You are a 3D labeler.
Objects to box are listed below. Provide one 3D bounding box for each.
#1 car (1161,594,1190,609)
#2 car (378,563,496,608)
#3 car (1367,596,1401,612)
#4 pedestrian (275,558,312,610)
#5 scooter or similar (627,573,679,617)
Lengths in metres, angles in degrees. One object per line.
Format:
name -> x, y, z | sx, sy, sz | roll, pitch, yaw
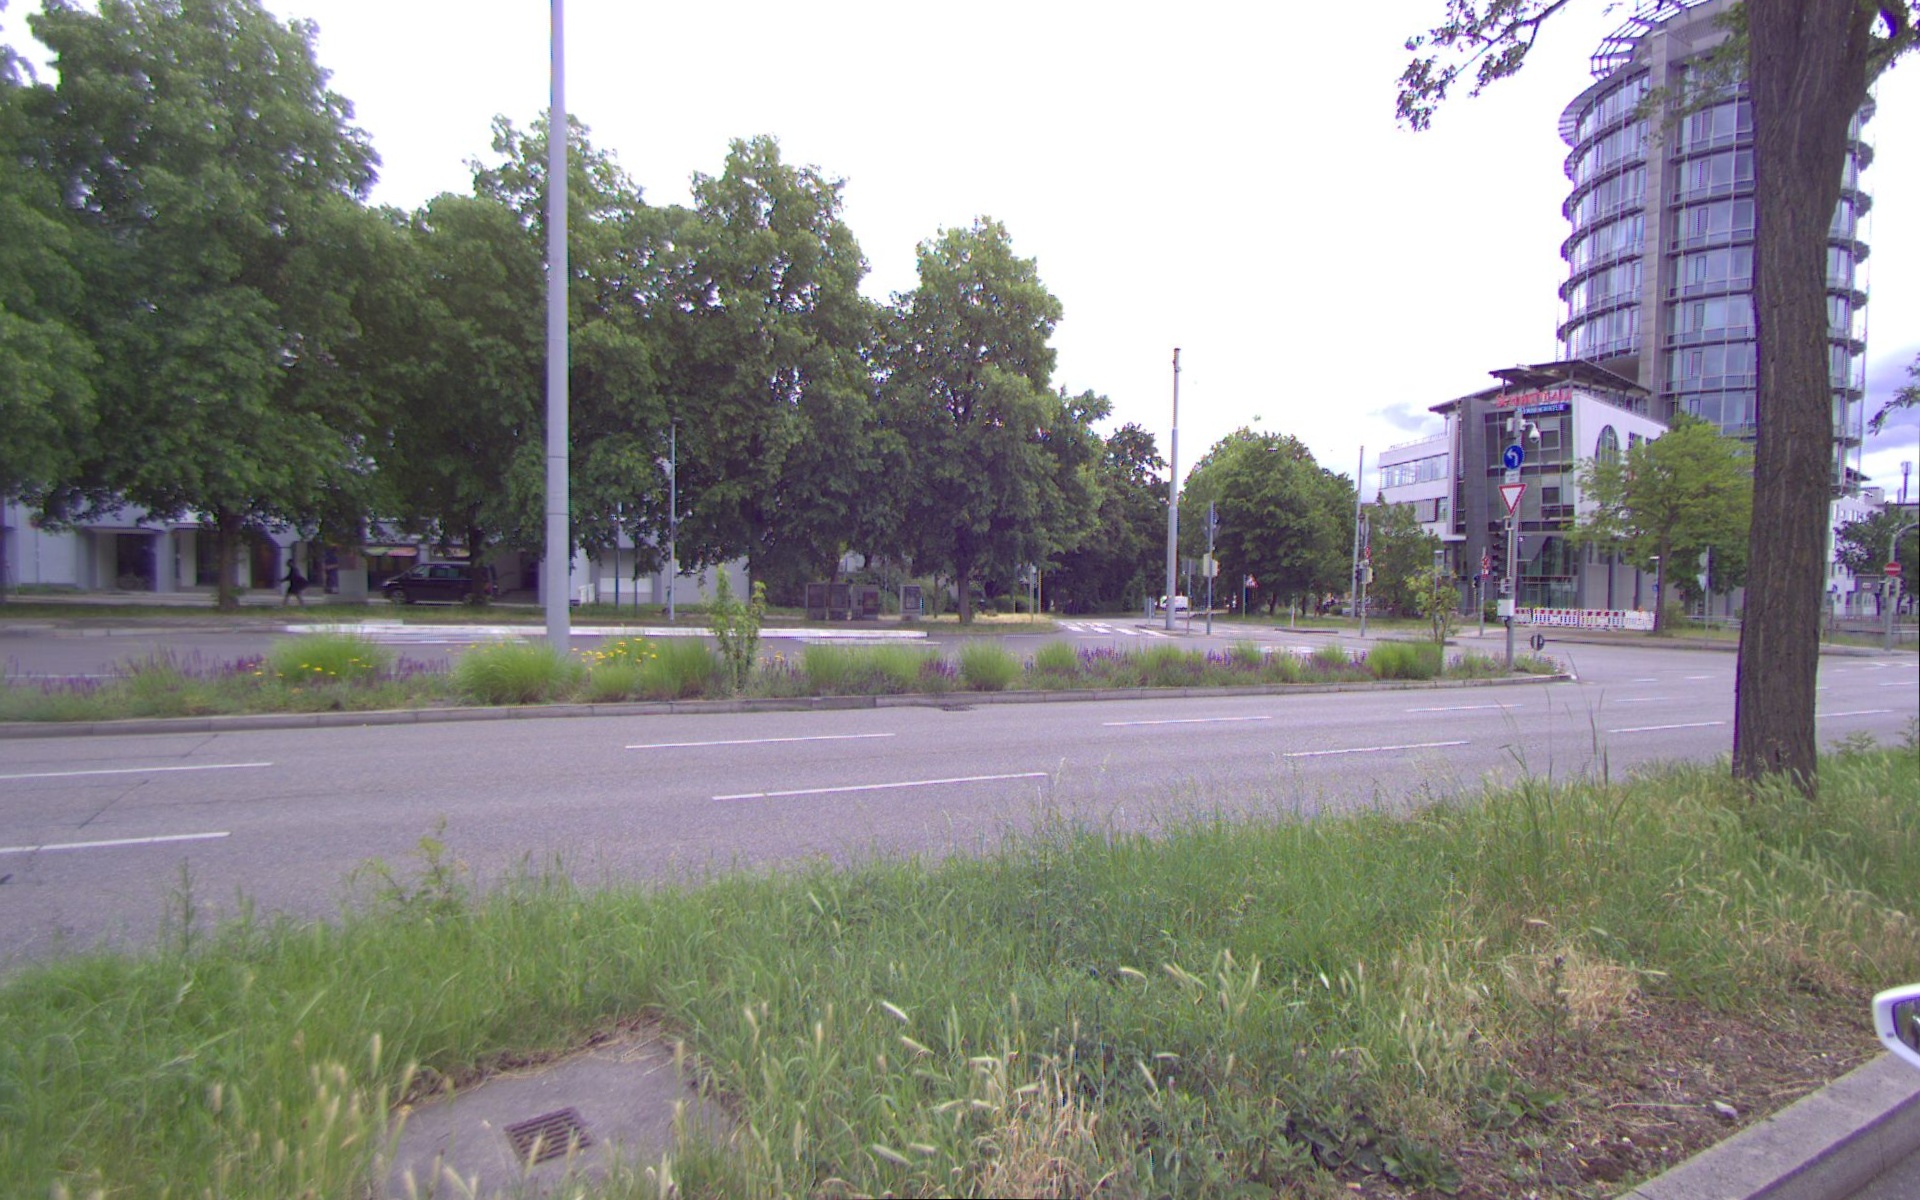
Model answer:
car -> 37.729, 0.257, 175.679 | 4.475, 2.370, 1.994 | 2, 0, -16
car -> -23.315, -0.635, 44.953 | 4.345, 1.872, 1.781 | 1, 1, -16
car -> 25.043, 0.234, 59.398 | 1.684, 0.888, 0.776 | 1, 0, 7
pedestrian -> -20.899, -0.491, 31.530 | 0.894, 1.578, 0.766 | 1, 1, -30
scooter or similar -> -11.869, -0.182, 38.855 | 1.835, 1.686, 0.645 | 1, 1, -43
